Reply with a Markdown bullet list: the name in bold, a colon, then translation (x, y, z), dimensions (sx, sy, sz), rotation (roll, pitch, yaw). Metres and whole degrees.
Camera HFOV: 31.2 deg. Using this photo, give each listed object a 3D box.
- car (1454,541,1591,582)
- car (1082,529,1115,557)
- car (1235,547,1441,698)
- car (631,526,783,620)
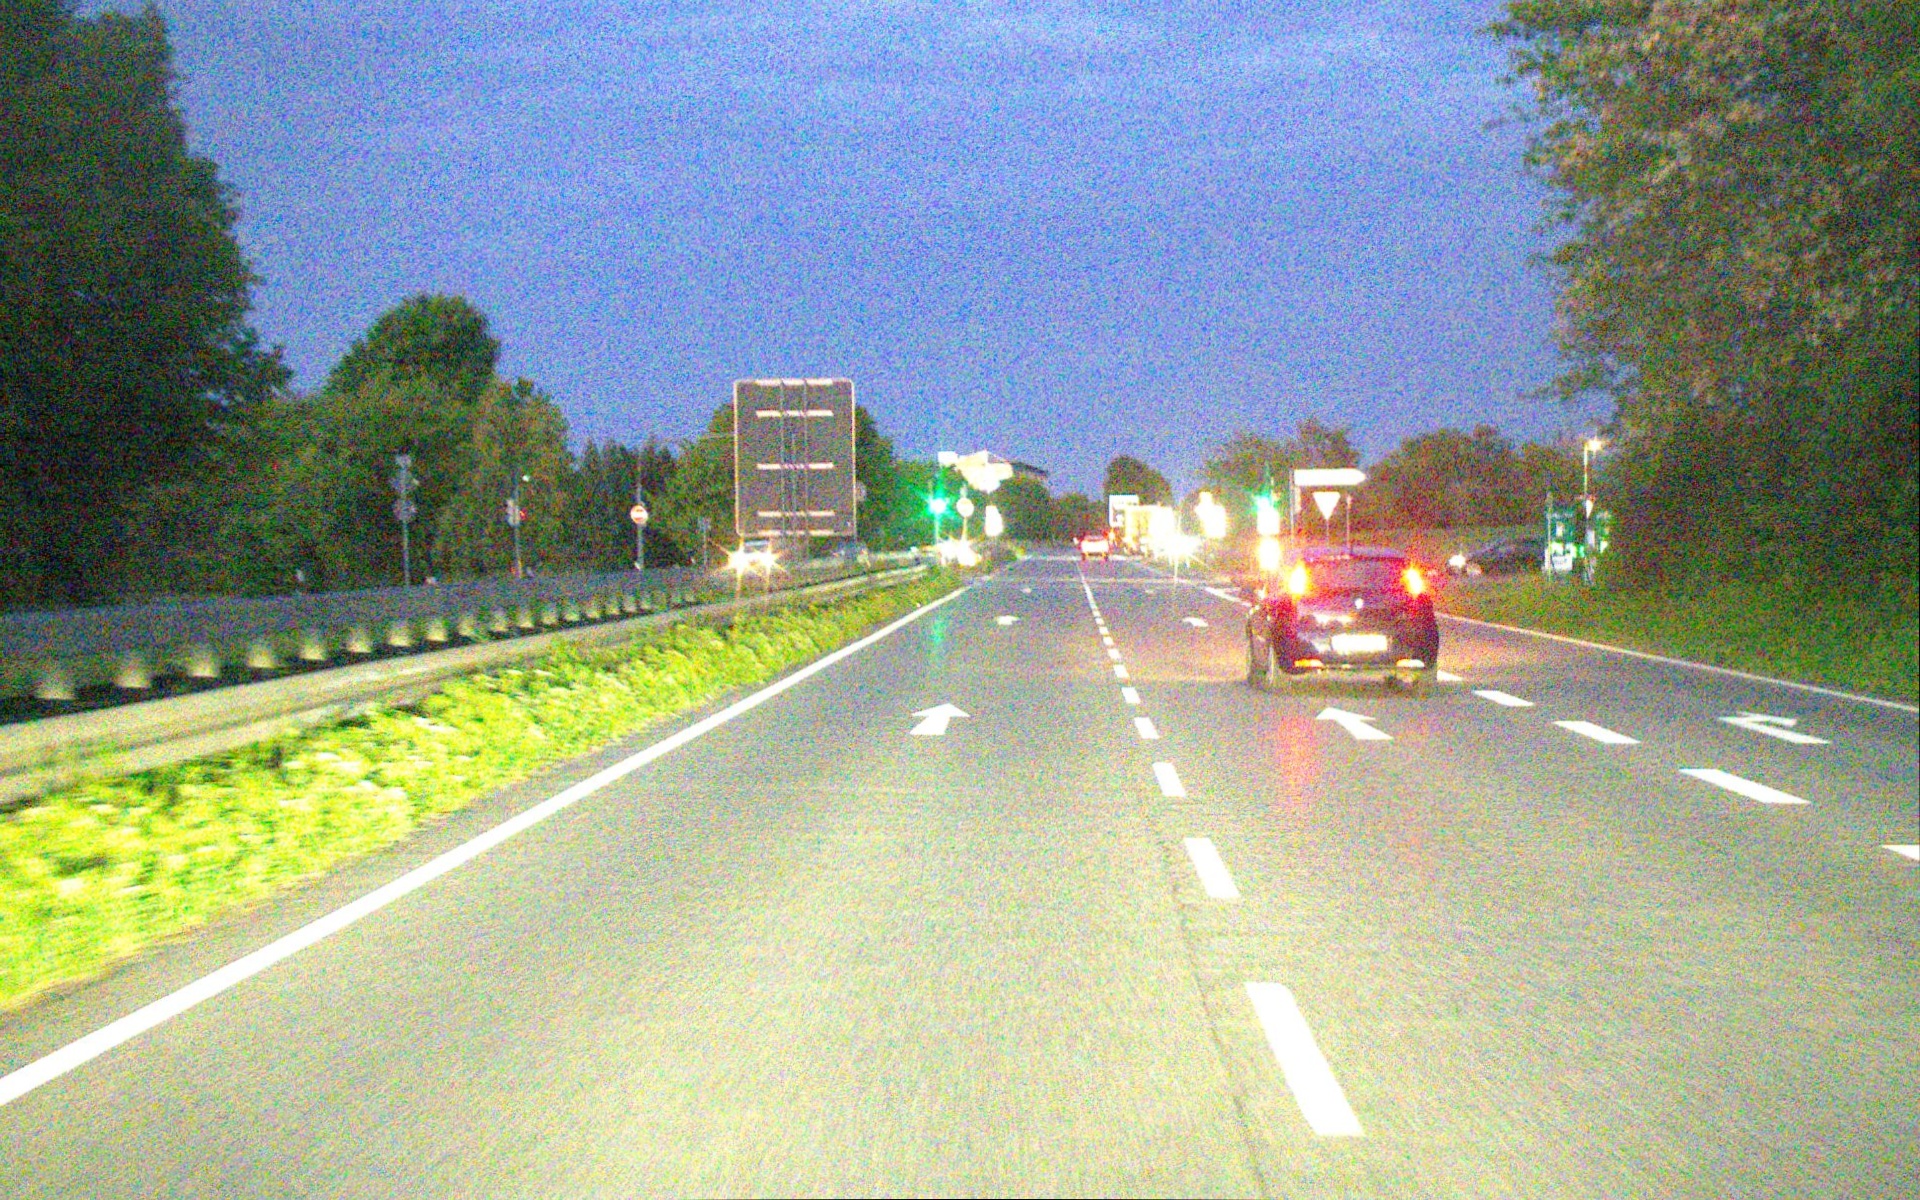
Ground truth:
- **car**: translation (20.210, -1.389, 123.569), dimensions (4.719, 1.448, 2.000), rotation (0, 1, 5)
- **car**: translation (9.475, -3.895, 235.592), dimensions (1.993, 1.744, 4.000), rotation (-4, 0, 0)
- **car**: translation (3.847, 0.181, 35.582), dimensions (1.753, 1.448, 4.433), rotation (0, 1, 2)
- **car**: translation (-4.370, -0.472, 60.091), dimensions (1.994, 1.448, 4.734), rotation (-4, 0, 3)
